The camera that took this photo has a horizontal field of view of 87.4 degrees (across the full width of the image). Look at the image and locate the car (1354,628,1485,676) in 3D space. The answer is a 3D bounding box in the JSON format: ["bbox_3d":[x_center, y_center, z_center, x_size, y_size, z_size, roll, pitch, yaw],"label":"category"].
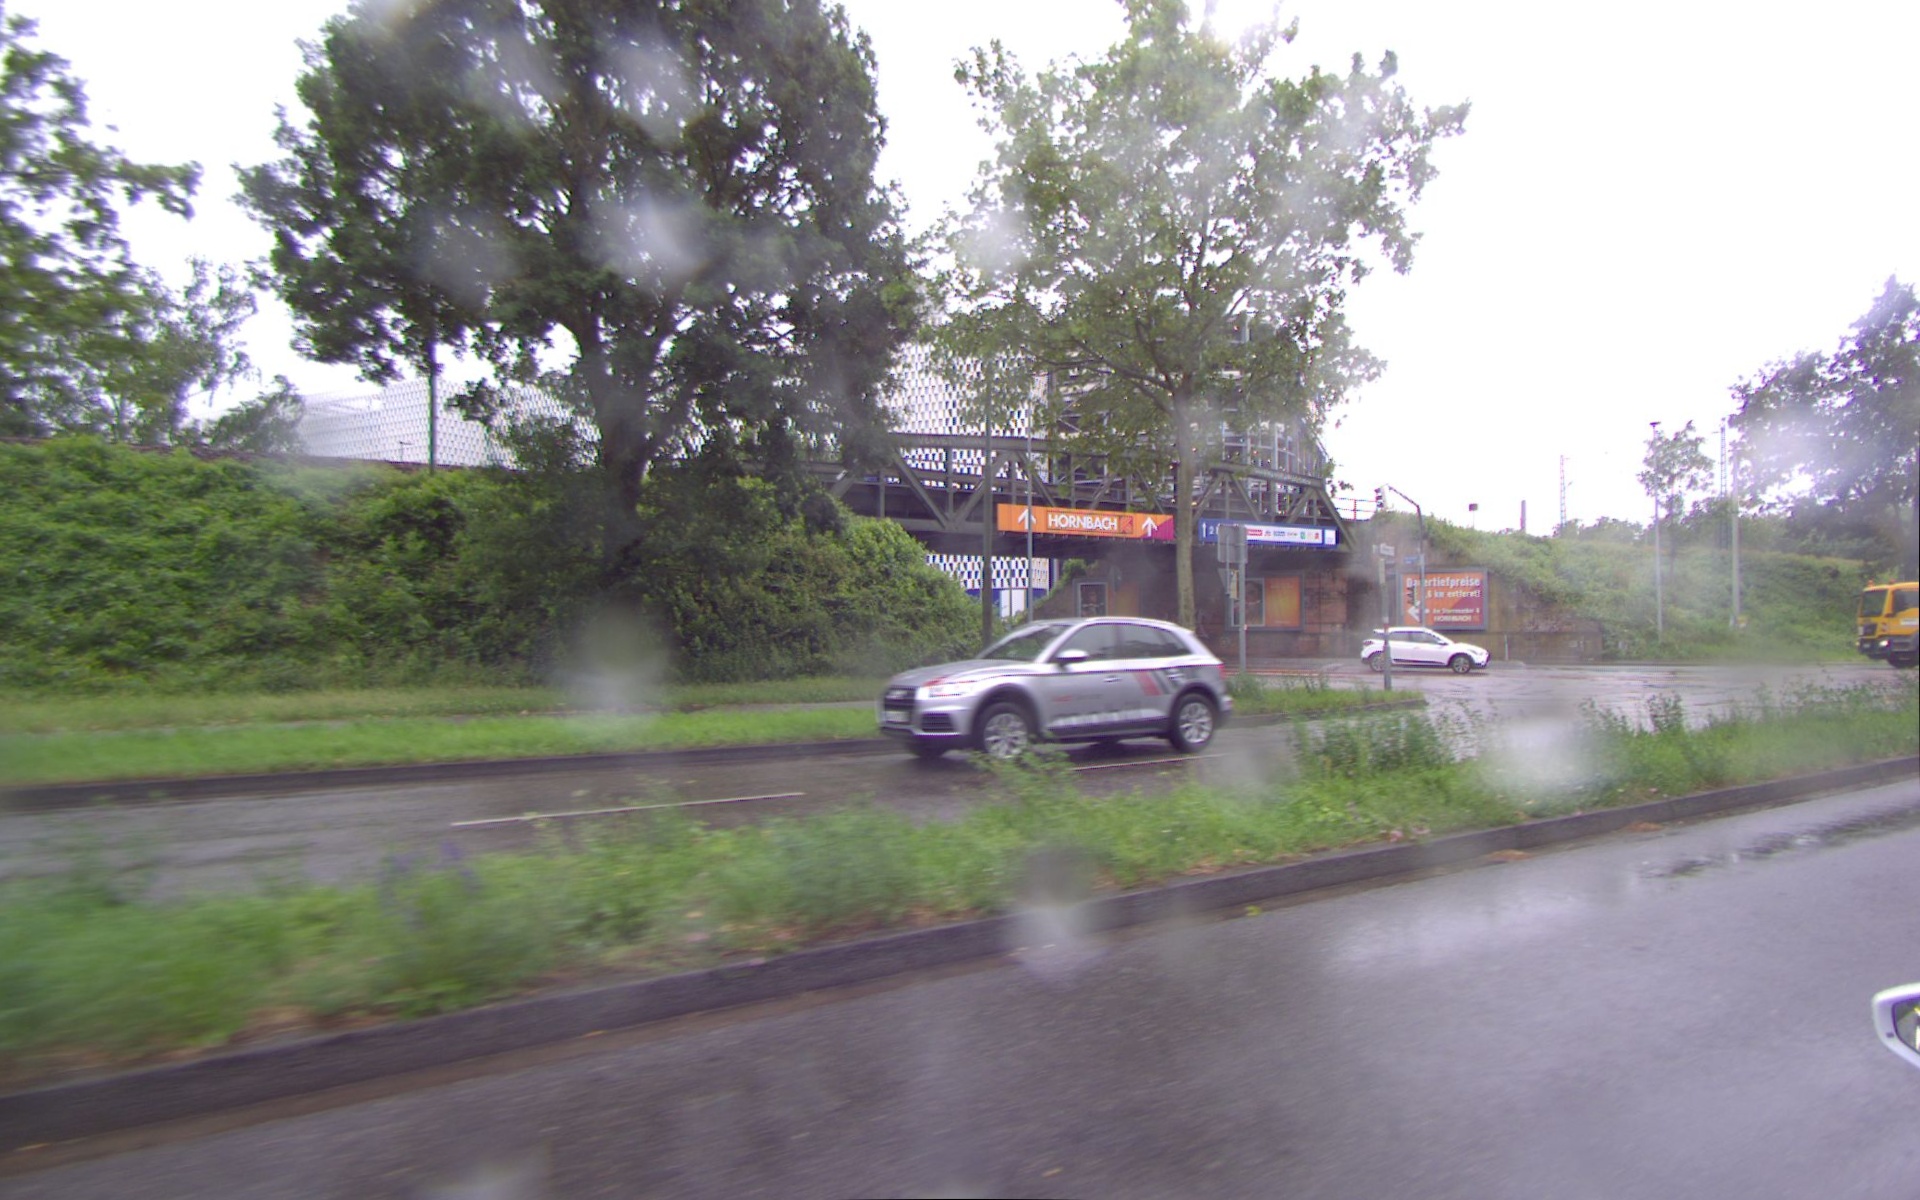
[{"bbox_3d":[15.776,1.753,34.550,3.988,1.541,1.998,-1,-2,27],"label":"car"}]

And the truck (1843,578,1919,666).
[{"bbox_3d":[36.302,0.776,35.647,6.914,3.094,2.646,0,-2,23],"label":"truck"}]

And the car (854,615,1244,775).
[{"bbox_3d":[1.139,1.046,12.116,4.467,1.609,1.848,1,-3,-31],"label":"car"}]
